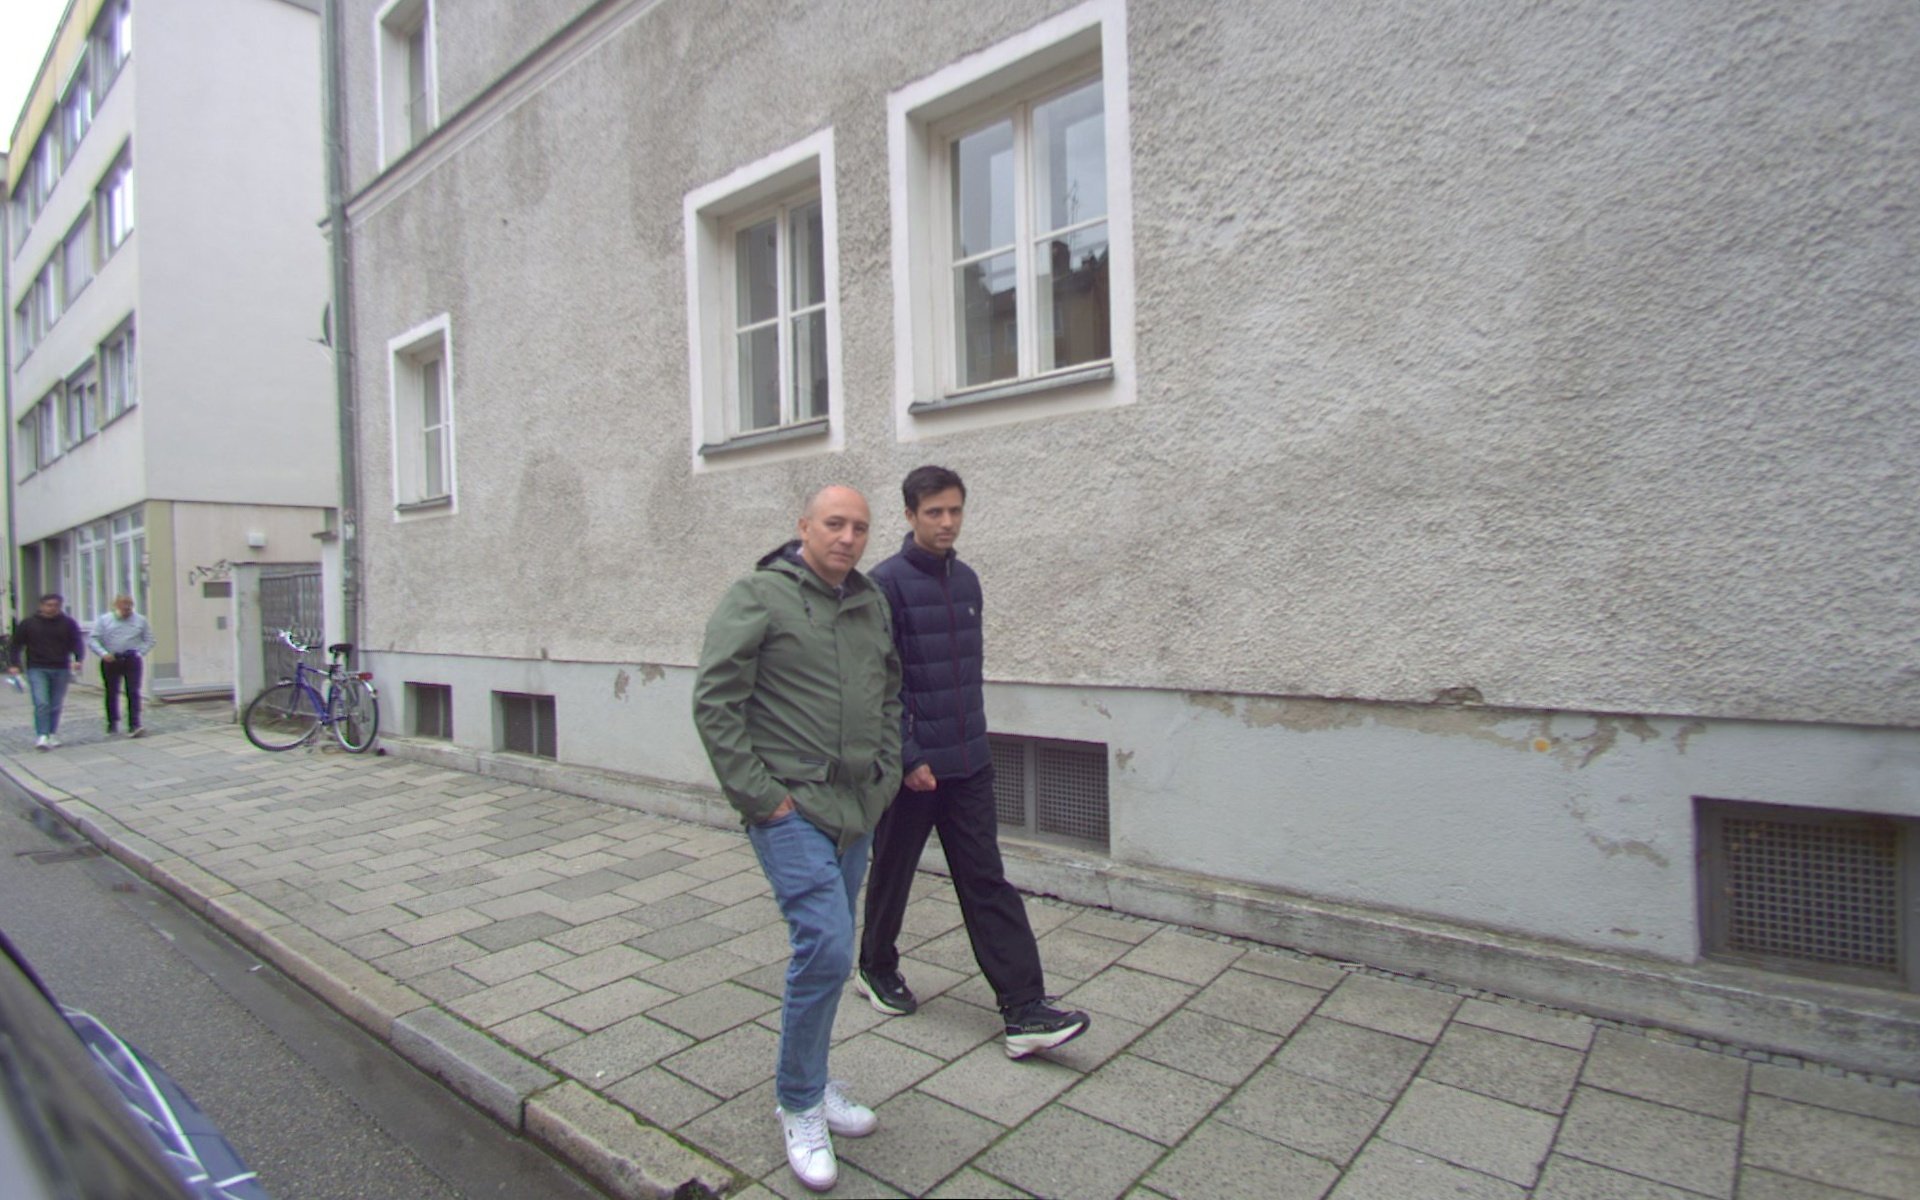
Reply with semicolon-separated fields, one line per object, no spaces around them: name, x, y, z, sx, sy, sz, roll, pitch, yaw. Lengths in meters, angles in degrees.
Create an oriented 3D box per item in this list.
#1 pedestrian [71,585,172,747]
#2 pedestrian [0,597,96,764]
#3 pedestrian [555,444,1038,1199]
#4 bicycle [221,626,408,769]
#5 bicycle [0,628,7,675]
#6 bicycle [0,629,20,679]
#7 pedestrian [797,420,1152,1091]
pedestrian;-9.956;0.746;12.011;0.916;1.810;0.711;-1;2;41
pedestrian;-10.376;0.874;11.464;0.837;1.778;0.711;-1;2;41
pedestrian;-0.415;0.513;2.586;0.906;1.671;0.745;-1;2;41
bicycle;-6.027;0.869;9.451;1.653;1.227;0.638;-1;0;22
bicycle;-24.773;1.319;25.846;1.605;1.168;0.453;-1;3;42
bicycle;-23.529;1.302;24.662;1.717;1.168;0.557;-1;1;35
pedestrian;0.042;0.394;3.090;0.823;1.726;0.606;-1;2;40
